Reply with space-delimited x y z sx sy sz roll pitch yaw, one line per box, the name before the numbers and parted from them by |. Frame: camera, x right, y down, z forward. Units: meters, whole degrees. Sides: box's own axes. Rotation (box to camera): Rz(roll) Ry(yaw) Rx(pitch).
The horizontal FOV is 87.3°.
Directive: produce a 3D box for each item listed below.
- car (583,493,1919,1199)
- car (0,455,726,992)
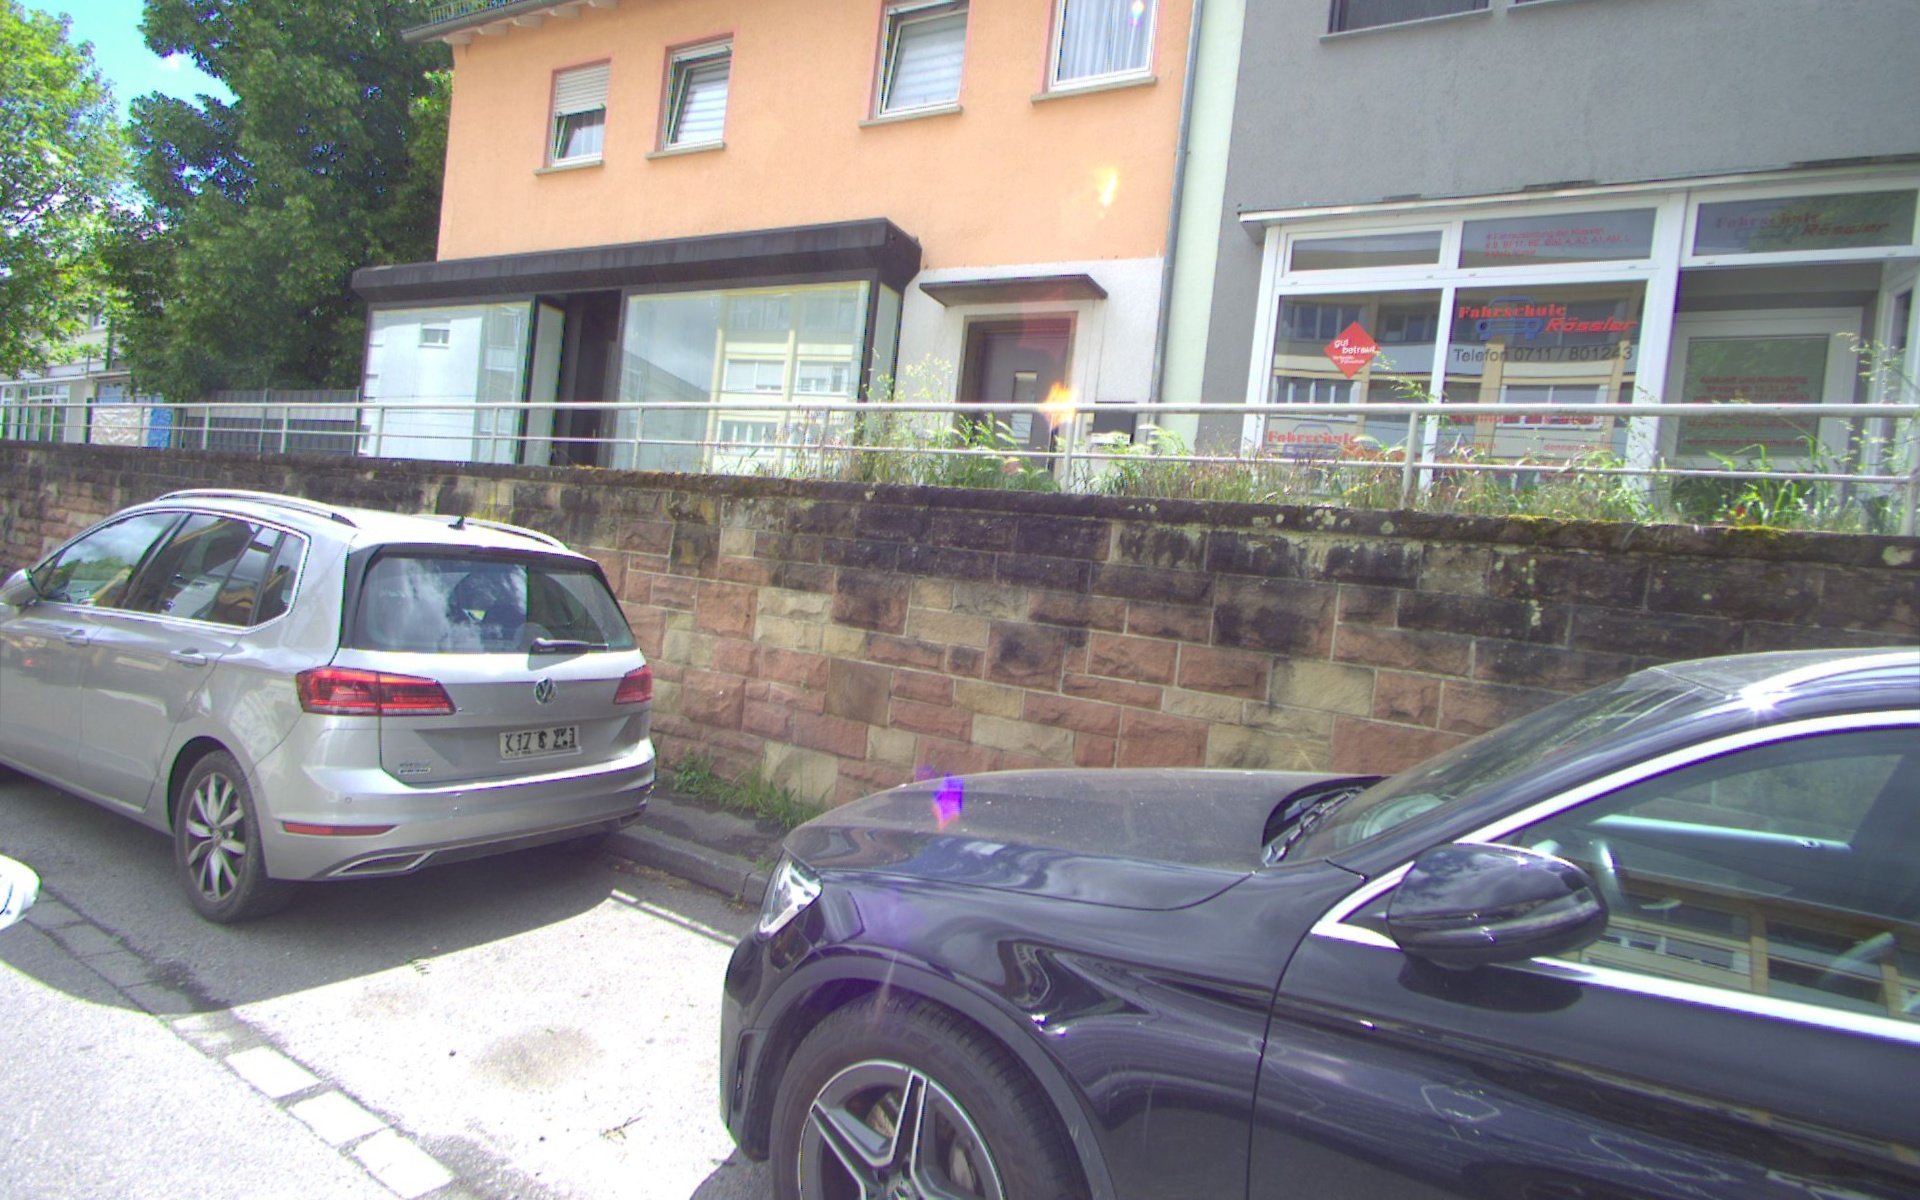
car | 1.530 0.832 1.909 4.373 1.639 1.791 7 2 31
car | -3.409 0.270 5.030 4.177 1.638 1.791 7 1 31
